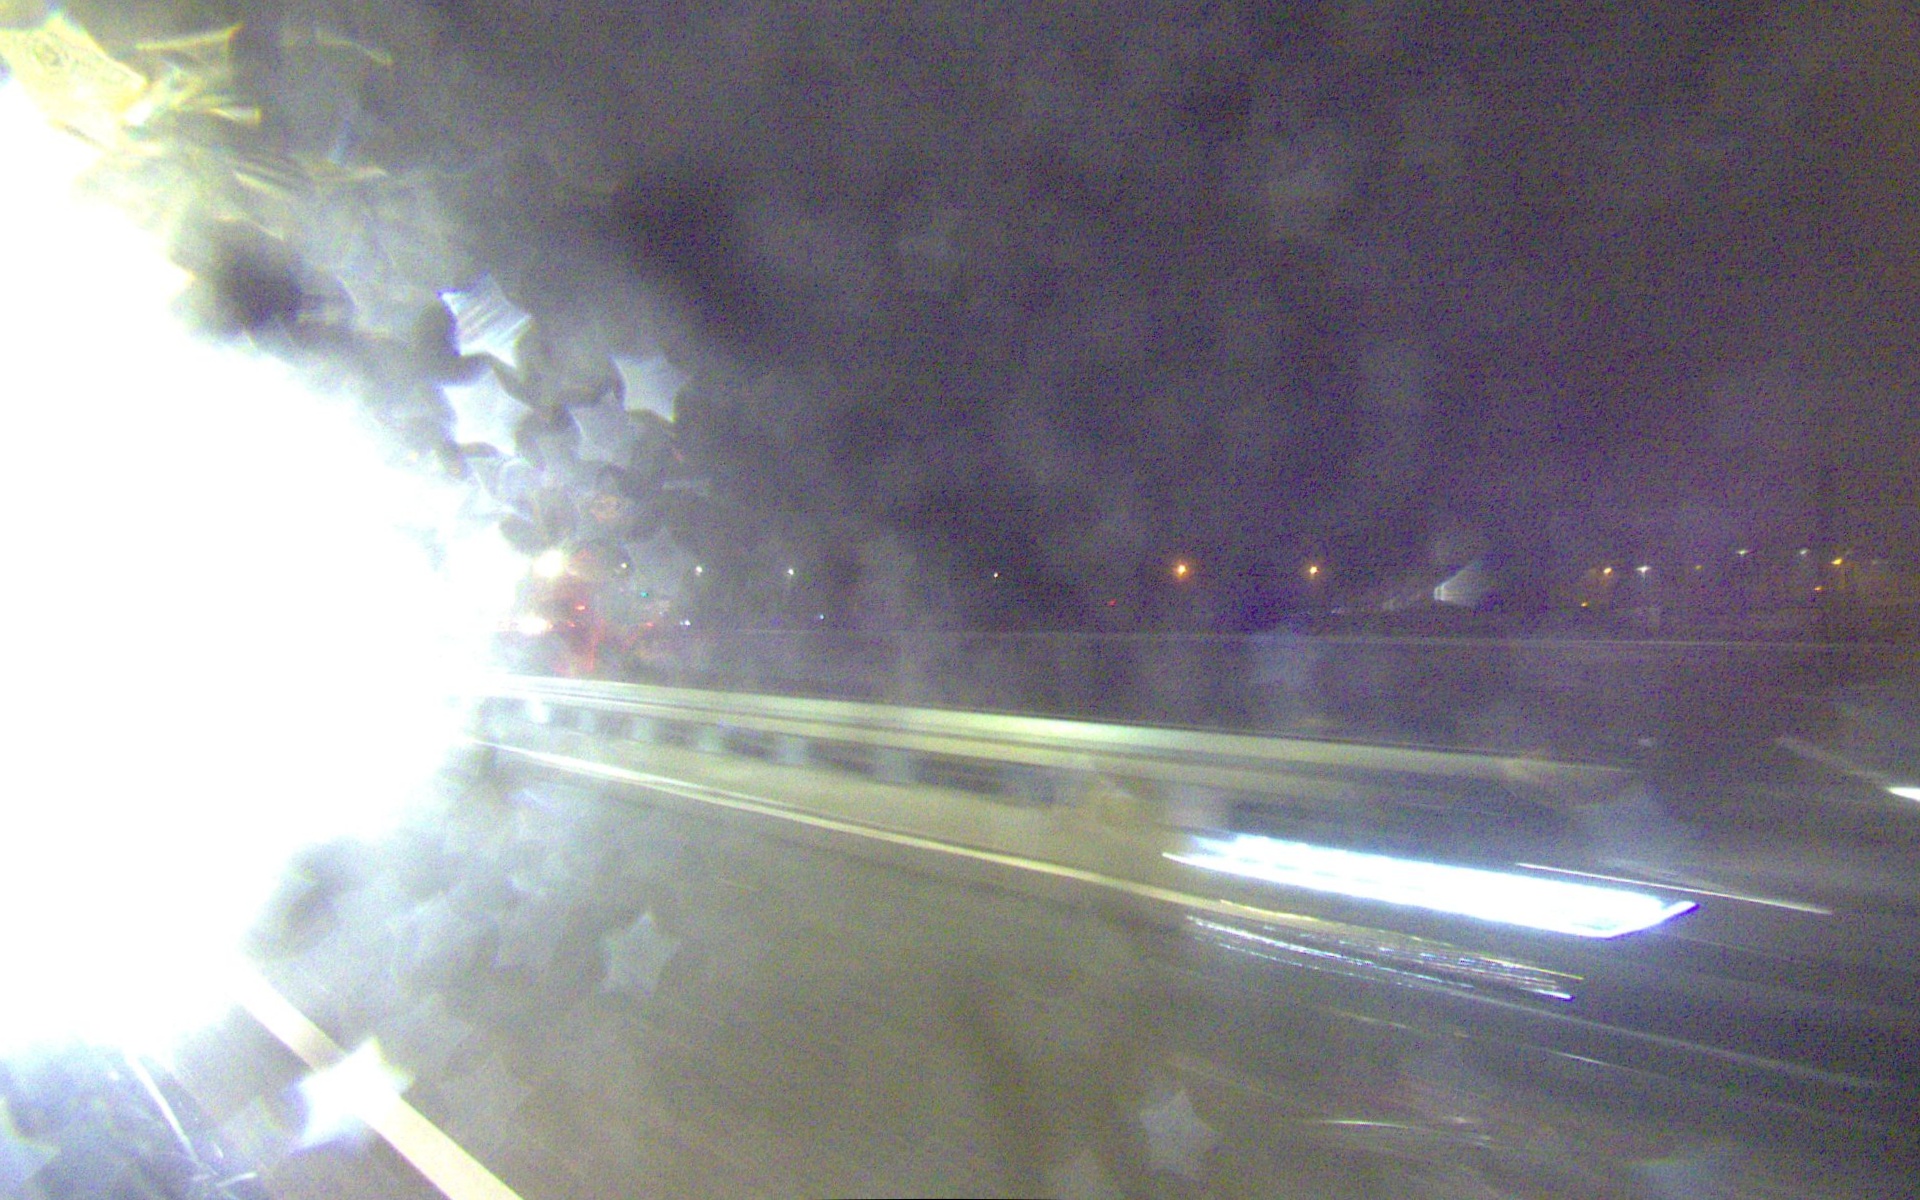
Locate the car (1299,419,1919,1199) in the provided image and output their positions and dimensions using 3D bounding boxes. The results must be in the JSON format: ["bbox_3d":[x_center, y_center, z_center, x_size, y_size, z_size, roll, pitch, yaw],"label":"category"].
[{"bbox_3d":[2.961,0.572,1.531,4.310,1.717,1.761,-1,-2,39],"label":"car"}]

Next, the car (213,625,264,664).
[{"bbox_3d":[-45.040,2.803,63.254,1.628,2.028,4.012,-8,-1,-24],"label":"car"}]

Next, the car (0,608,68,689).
[{"bbox_3d":[-25.415,1.251,26.954,1.966,2.029,4.010,1,-1,-34],"label":"car"}]

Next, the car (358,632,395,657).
[{"bbox_3d":[-53.603,4.095,93.044,1.629,2.028,4.010,-8,-1,-13],"label":"car"}]

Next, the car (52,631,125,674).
[{"bbox_3d":[-32.622,1.949,37.962,1.497,1.537,3.116,0,-2,-30],"label":"car"}]

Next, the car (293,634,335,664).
[{"bbox_3d":[-50.078,3.809,78.542,1.628,2.028,4.012,-8,-1,-19],"label":"car"}]

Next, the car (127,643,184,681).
[{"bbox_3d":[-38.434,2.934,48.396,1.284,1.539,3.056,-9,2,-26],"label":"car"}]
